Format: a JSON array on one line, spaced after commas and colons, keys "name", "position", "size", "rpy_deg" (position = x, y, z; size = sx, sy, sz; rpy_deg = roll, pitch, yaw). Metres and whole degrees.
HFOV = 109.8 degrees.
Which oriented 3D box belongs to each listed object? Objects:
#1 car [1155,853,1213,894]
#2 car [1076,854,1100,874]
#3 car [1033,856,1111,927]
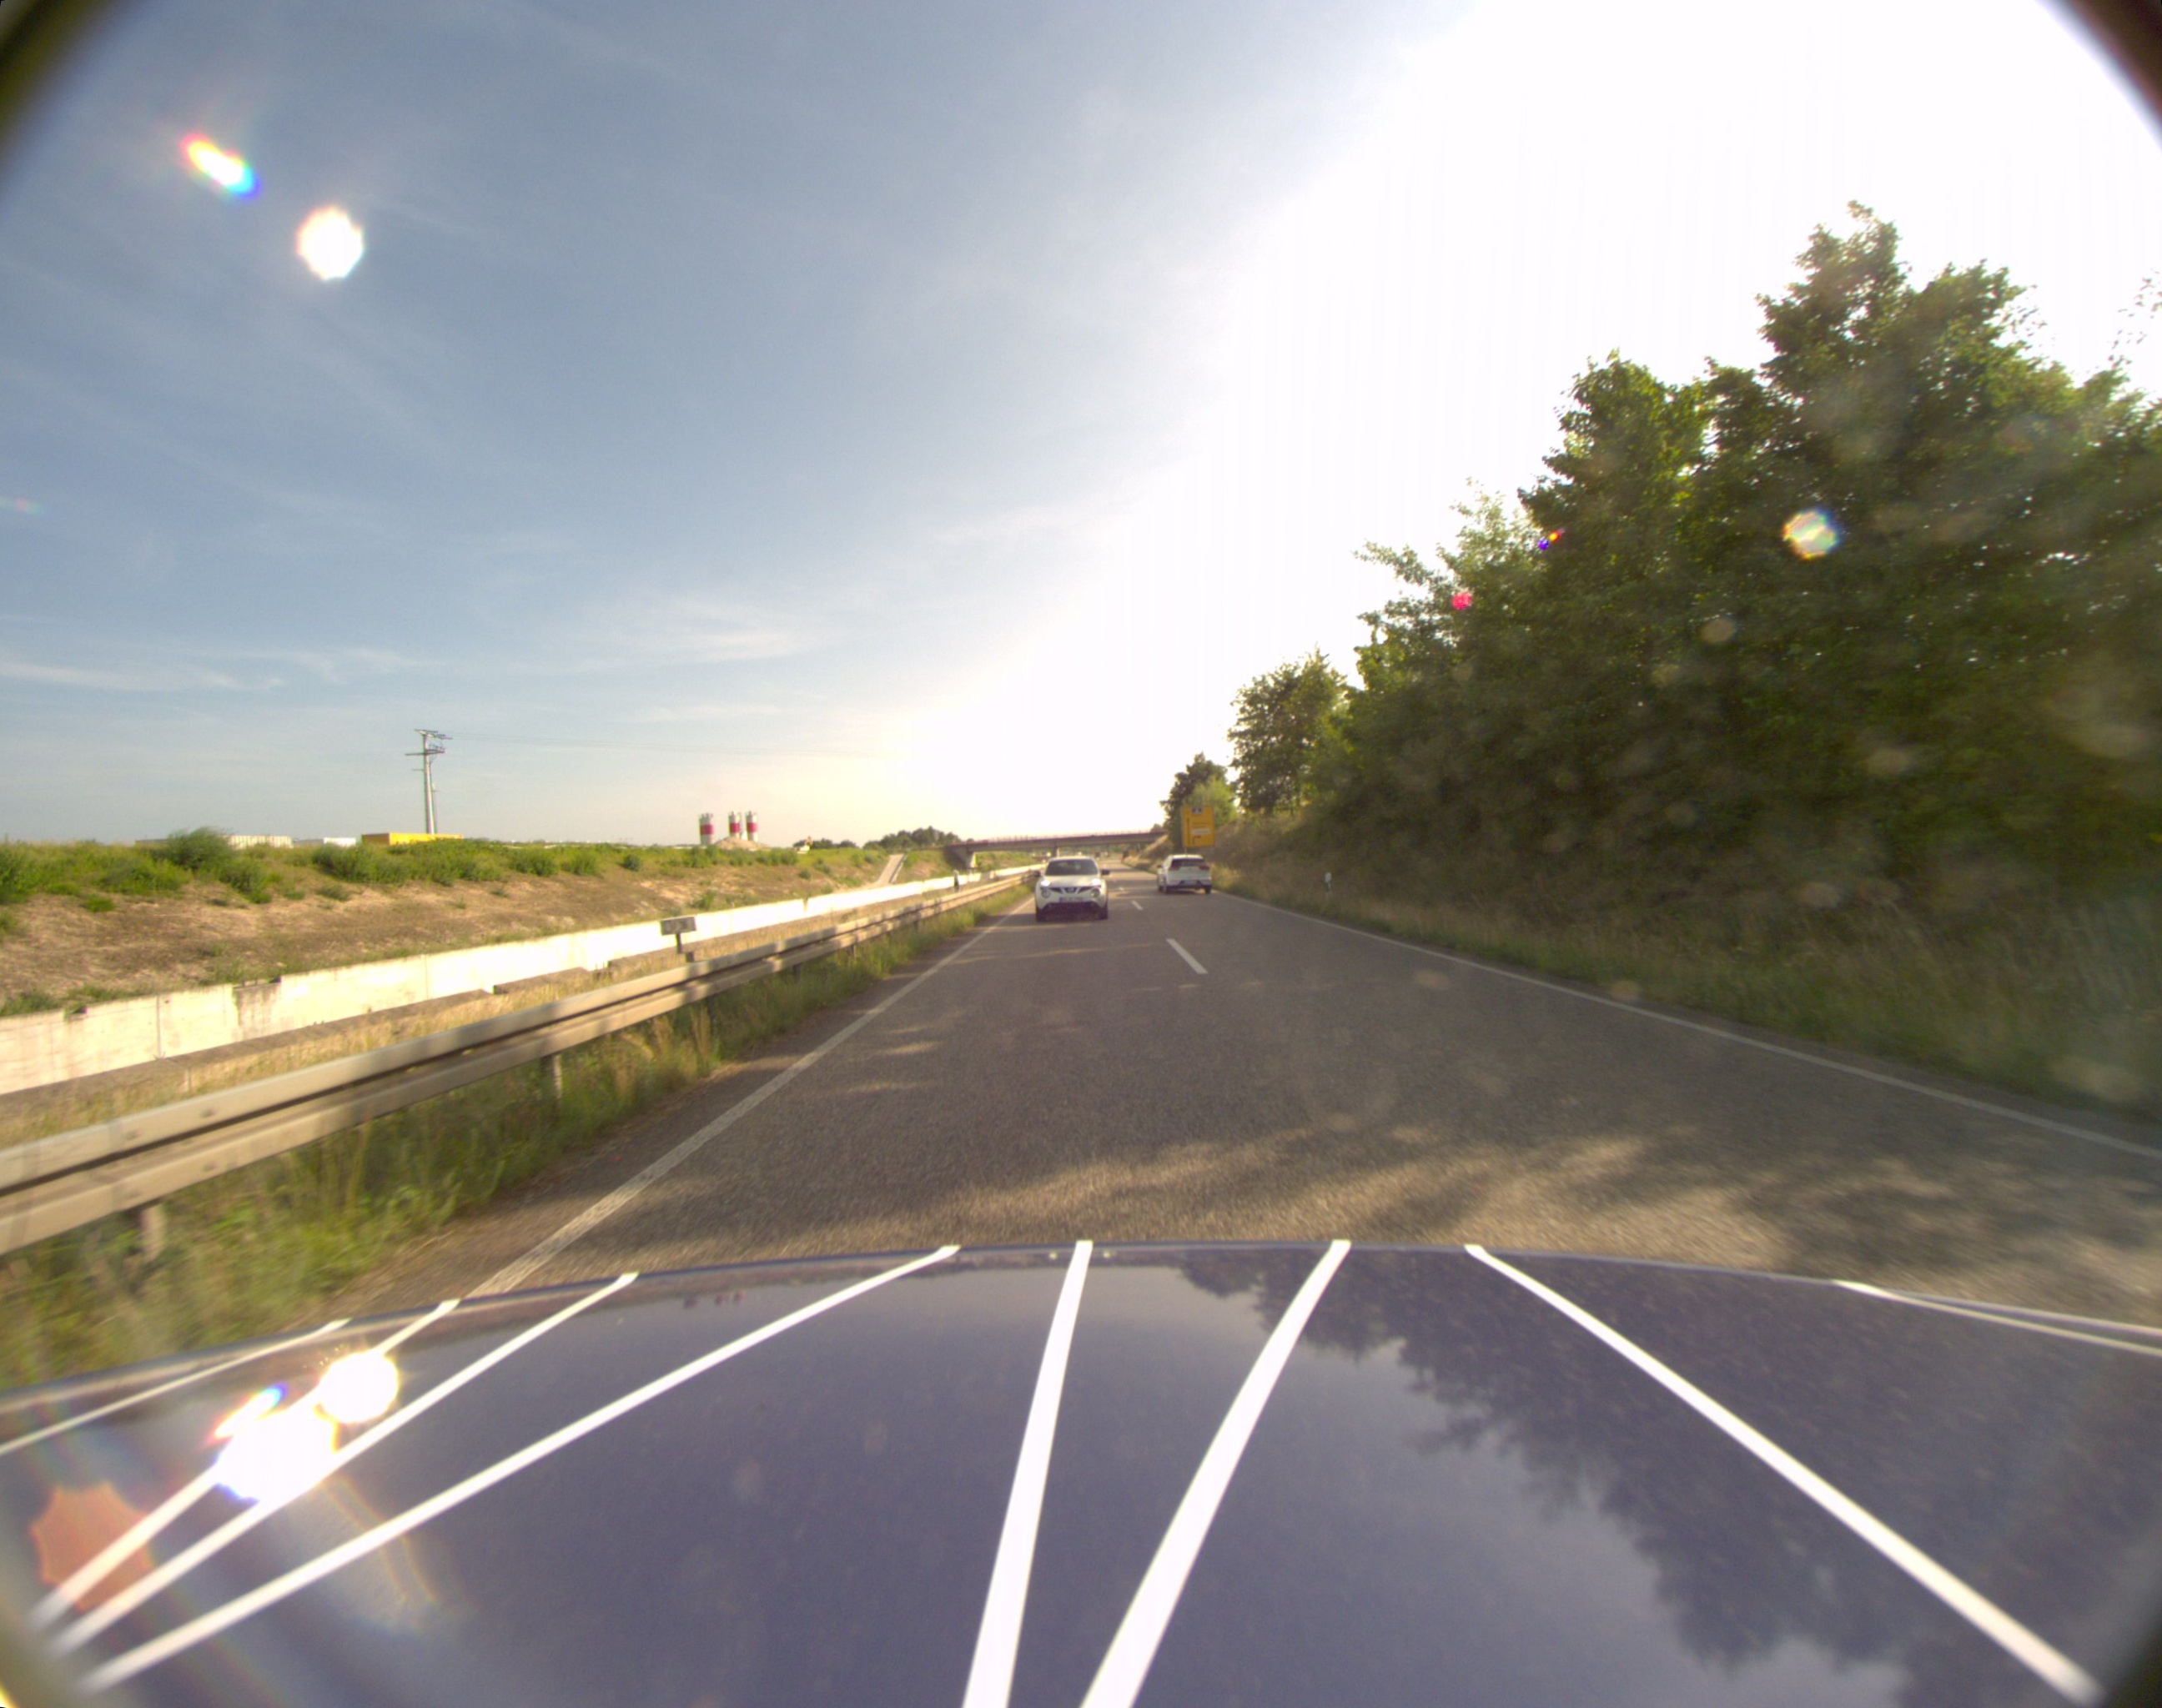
[{"name": "car", "position": [4.184, 0.740, 31.407], "size": [1.749, 1.555, 4.365], "rpy_deg": [-1, 0, 0]}, {"name": "car", "position": [0.593, 0.797, 62.676], "size": [1.908, 1.512, 4.465], "rpy_deg": [-2, 0, 1]}, {"name": "car", "position": [-0.254, 0.882, 20.175], "size": [1.789, 1.593, 4.571], "rpy_deg": [-2, 0, -1]}]
